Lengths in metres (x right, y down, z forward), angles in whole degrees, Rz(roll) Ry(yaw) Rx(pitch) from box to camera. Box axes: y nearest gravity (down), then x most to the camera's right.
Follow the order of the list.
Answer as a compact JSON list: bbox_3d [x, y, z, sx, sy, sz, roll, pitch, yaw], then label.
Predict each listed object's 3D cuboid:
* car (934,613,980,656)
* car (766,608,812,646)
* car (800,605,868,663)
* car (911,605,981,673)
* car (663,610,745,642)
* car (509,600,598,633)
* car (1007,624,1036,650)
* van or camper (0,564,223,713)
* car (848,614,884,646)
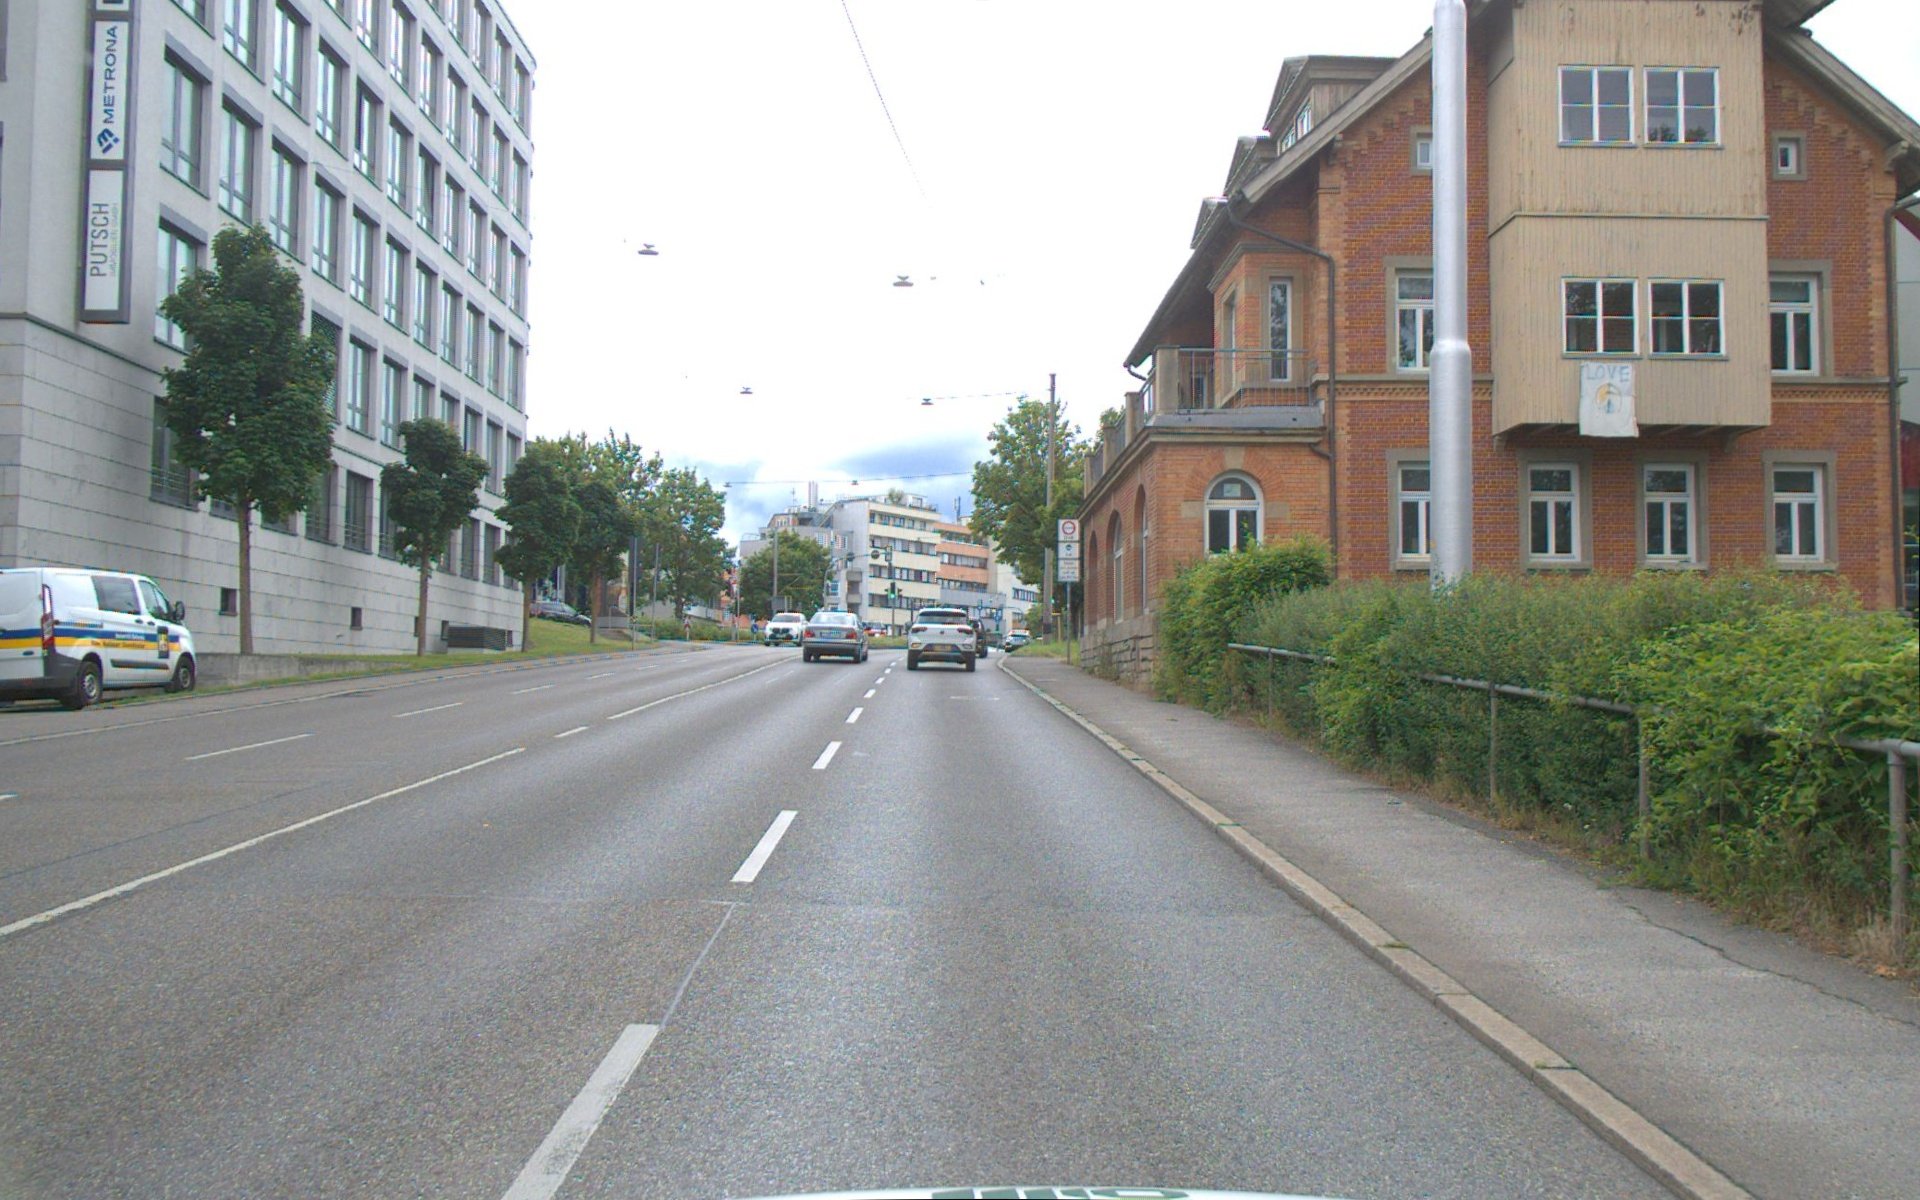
[{"bbox_3d":[-0.108,1.343,62.827,1.665,1.543,3.493,1,-2,0],"label":"car"},{"bbox_3d":[-8.734,1.358,84.694,1.831,1.820,4.653,-2,-1,-1],"label":"car"},{"bbox_3d":[-3.509,0.923,46.598,1.665,1.542,3.735,1,0,-1],"label":"car"},{"bbox_3d":[-0.380,0.967,43.086,1.665,1.575,3.735,4,0,-1],"label":"car"},{"bbox_3d":[-13.264,1.340,85.941,1.750,1.571,3.974,0,-2,43],"label":"car"},{"bbox_3d":[-19.466,0.812,79.410,1.741,1.488,4.437,2,0,24],"label":"car"},{"bbox_3d":[3.913,2.330,105.205,1.733,1.598,4.286,0,-1,3],"label":"car"},{"bbox_3d":[-13.242,0.569,24.948,2.018,2.002,4.872,-2,-1,0],"label":"van or camper"},{"bbox_3d":[-5.478,1.734,96.512,1.831,1.732,4.428,-2,-1,-1],"label":"car"}]
